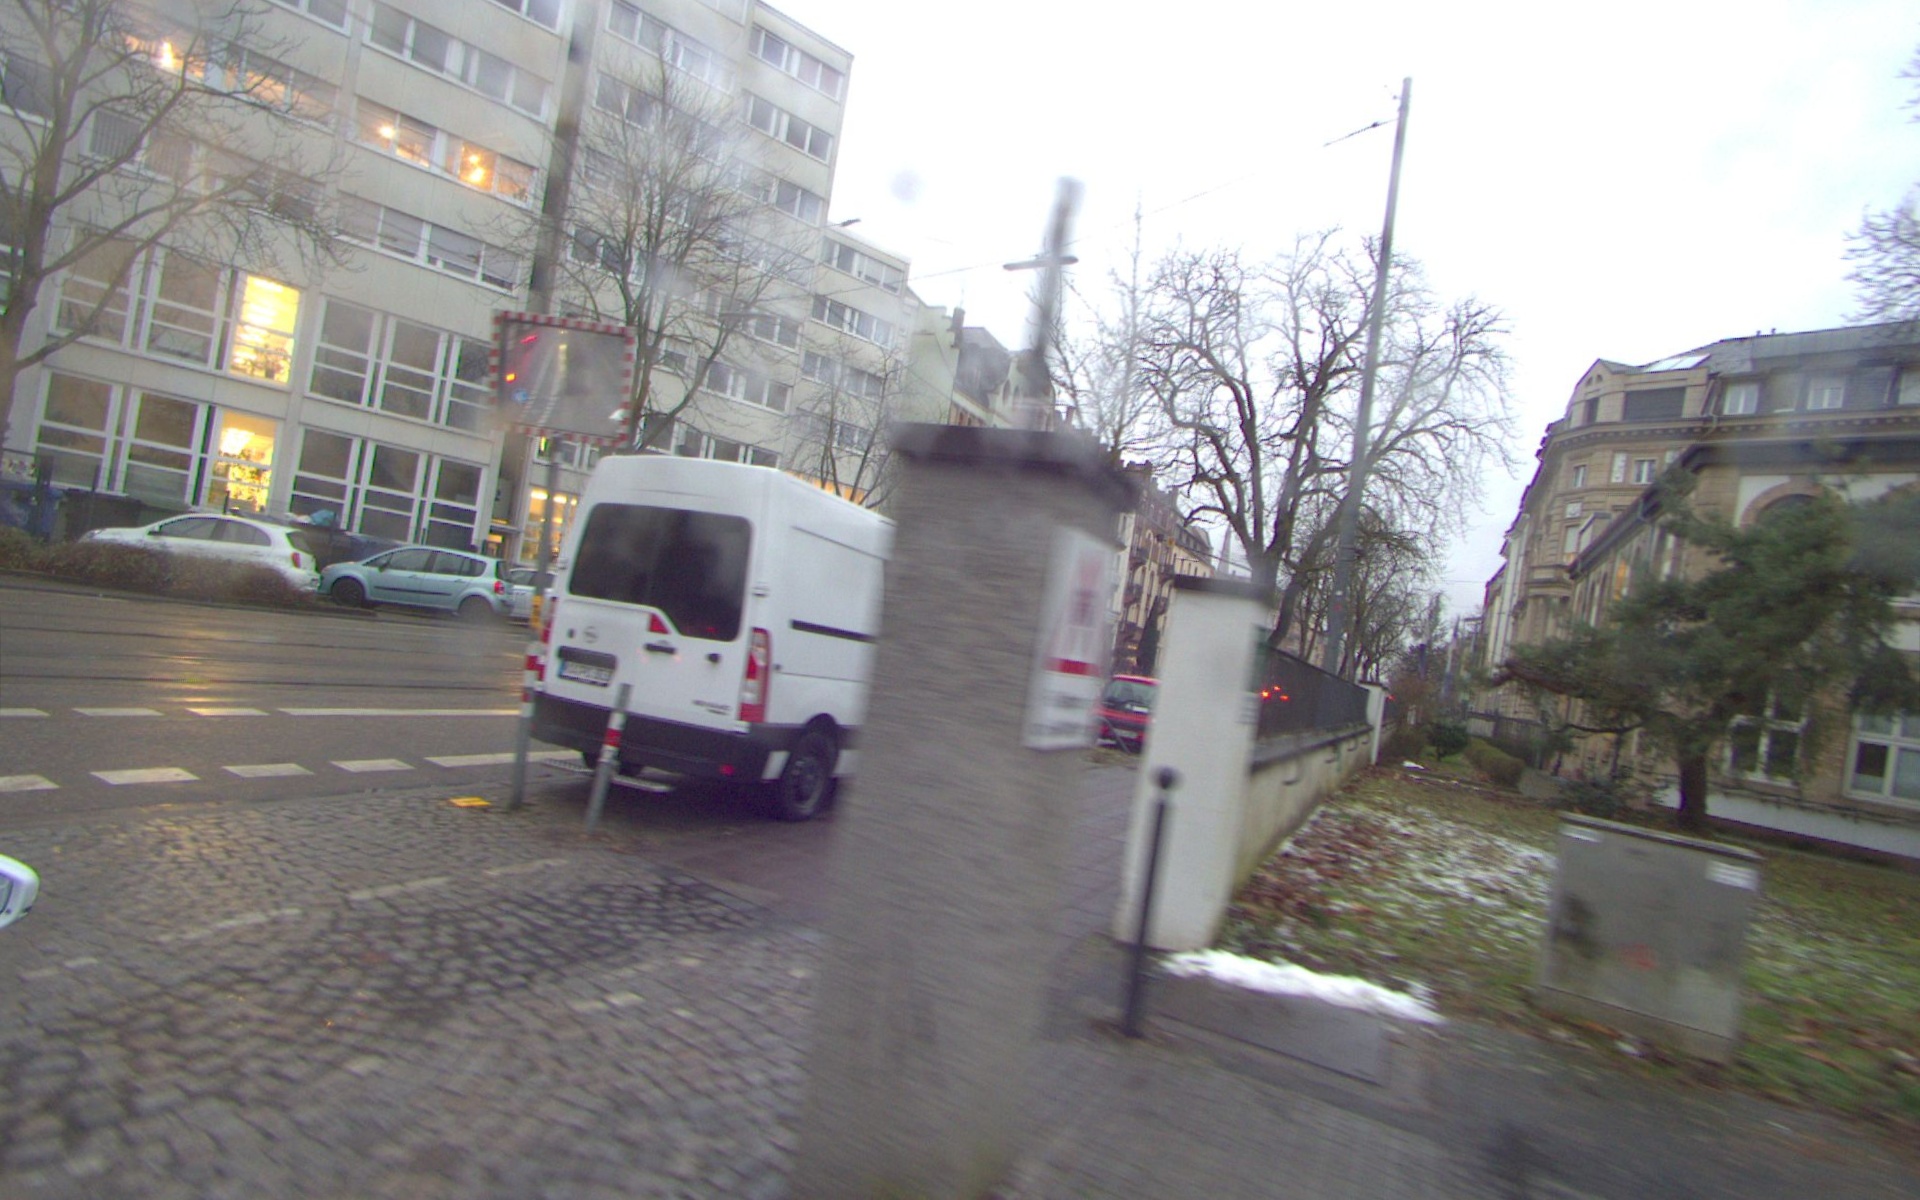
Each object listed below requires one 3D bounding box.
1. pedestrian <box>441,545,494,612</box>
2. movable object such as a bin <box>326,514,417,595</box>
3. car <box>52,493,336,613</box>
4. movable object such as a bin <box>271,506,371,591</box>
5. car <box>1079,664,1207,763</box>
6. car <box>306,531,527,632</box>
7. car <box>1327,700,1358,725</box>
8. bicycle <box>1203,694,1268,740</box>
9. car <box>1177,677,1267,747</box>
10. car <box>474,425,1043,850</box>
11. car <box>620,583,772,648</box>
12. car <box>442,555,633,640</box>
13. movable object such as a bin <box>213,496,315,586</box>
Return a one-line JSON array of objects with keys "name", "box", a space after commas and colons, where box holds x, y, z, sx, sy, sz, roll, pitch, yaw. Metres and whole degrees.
[{"name": "pedestrian", "box": [-13.566, -0.586, 27.717, 0.588, 1.696, 0.973, 8, 0, 25]}, {"name": "movable object such as a bin", "box": [-15.847, -1.204, 27.110, 1.547, 1.882, 1.317, 8, 0, 27]}, {"name": "car", "box": [-14.468, -0.839, 19.262, 3.823, 1.569, 1.686, 9, -1, -19]}, {"name": "movable object such as a bin", "box": [-16.443, -1.308, 25.901, 1.547, 1.882, 1.392, 8, 0, 27]}, {"name": "car", "box": [3.777, 2.233, 20.268, 1.618, 1.541, 3.574, 9, -1, 23]}, {"name": "car", "box": [-12.090, -0.393, 22.669, 3.942, 1.582, 1.731, 9, -1, -17]}, {"name": "car", "box": [27.475, 8.027, 72.218, 1.652, 1.476, 4.044, 8, -2, 24]}, {"name": "bicycle", "box": [8.370, 3.537, 30.577, 1.688, 1.083, 0.663, 8, 0, 26]}, {"name": "car", "box": [7.348, 3.075, 27.955, 1.666, 1.537, 3.638, 8, -2, 24]}, {"name": "car", "box": [-1.237, 0.384, 9.125, 2.092, 2.516, 5.440, 8, -1, 23]}, {"name": "car", "box": [-8.235, 0.491, 31.376, 4.293, 1.367, 1.741, 9, -2, -23]}, {"name": "car", "box": [-10.521, -0.028, 25.309, 3.933, 1.460, 1.736, 9, -2, -8]}, {"name": "movable object such as a bin", "box": [-17.036, -1.434, 24.640, 1.547, 1.882, 1.317, 8, 0, 27]}]
